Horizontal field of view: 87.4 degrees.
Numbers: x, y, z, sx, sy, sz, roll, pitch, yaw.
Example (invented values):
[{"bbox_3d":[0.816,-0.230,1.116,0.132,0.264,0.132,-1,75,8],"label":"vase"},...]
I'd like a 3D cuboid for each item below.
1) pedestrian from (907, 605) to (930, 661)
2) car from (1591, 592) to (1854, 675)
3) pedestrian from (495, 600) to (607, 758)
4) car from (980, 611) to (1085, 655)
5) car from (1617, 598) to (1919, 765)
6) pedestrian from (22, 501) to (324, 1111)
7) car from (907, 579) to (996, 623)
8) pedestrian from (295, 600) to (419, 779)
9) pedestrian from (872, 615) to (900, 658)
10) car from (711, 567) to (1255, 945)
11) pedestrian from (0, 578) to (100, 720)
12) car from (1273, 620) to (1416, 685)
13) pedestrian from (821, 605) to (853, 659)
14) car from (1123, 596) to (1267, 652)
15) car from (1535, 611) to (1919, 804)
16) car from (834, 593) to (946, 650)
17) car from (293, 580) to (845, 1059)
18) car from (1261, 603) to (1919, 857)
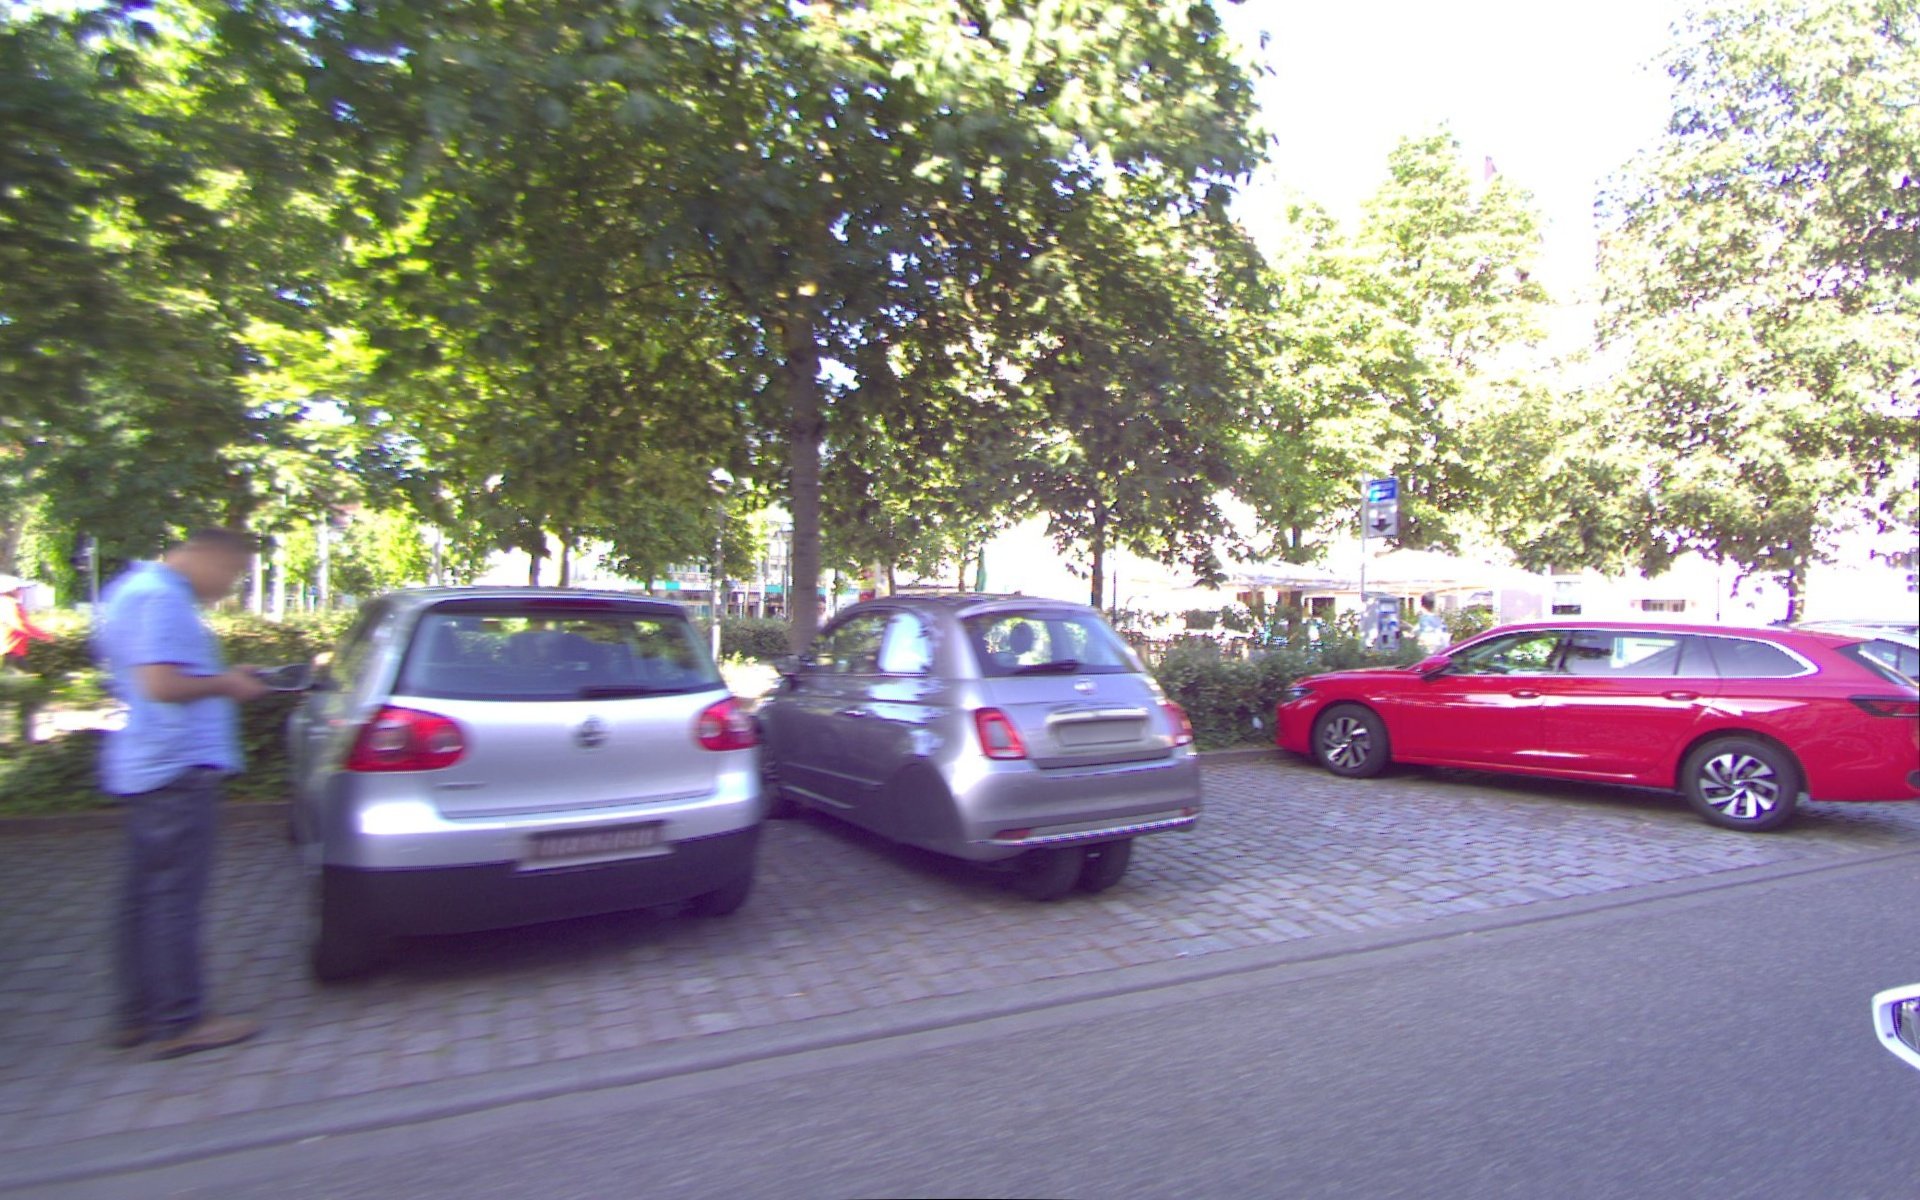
[{"bbox_3d":[-1.210,0.956,29.265,0.548,1.567,0.672,2,0,-8],"label":"pedestrian"},{"bbox_3d":[19.624,0.801,26.120,5.198,1.824,2.155,2,0,38],"label":"car"},{"bbox_3d":[-3.531,0.653,8.665,0.696,1.276,0.638,2,0,-40],"label":"pedestrian"},{"bbox_3d":[3.355,1.523,47.280,4.803,1.828,1.899,2,0,43],"label":"car"},{"bbox_3d":[9.810,0.876,11.328,3.932,1.607,1.826,2,0,33],"label":"car"},{"bbox_3d":[-2.450,0.569,3.216,0.639,1.671,0.695,2,0,-32],"label":"pedestrian"},{"bbox_3d":[-0.482,0.026,52.625,4.768,2.039,1.543,2,-4,43],"label":"car"},{"bbox_3d":[-4.660,0.662,7.759,0.696,1.291,0.638,2,0,-40],"label":"pedestrian"},{"bbox_3d":[-2.234,1.096,30.193,0.552,1.253,0.667,2,0,-33],"label":"pedestrian"},{"bbox_3d":[-0.212,0.667,6.465,1.728,1.619,3.970,2,0,-28],"label":"car"},{"bbox_3d":[-10.527,0.532,11.400,0.757,1.542,0.956,2,0,34],"label":"pedestrian"},{"bbox_3d":[12.436,1.651,32.598,3.863,1.794,1.970,2,0,42],"label":"car"},{"bbox_3d":[-3.480,0.904,28.361,0.549,1.484,0.671,2,0,36],"label":"pedestrian"},{"bbox_3d":[9.637,0.969,41.551,5.507,2.040,1.810,2,0,39],"label":"car"},{"bbox_3d":[8.004,0.954,9.561,4.168,1.496,1.729,3,0,37],"label":"car"},{"bbox_3d":[-3.270,0.952,46.193,5.276,2.345,1.990,2,0,42],"label":"car"},{"bbox_3d":[-2.350,0.678,5.253,1.785,1.467,3.960,2,0,-35],"label":"car"},{"bbox_3d":[5.221,0.870,8.539,4.779,1.508,1.756,2,0,41],"label":"car"}]
